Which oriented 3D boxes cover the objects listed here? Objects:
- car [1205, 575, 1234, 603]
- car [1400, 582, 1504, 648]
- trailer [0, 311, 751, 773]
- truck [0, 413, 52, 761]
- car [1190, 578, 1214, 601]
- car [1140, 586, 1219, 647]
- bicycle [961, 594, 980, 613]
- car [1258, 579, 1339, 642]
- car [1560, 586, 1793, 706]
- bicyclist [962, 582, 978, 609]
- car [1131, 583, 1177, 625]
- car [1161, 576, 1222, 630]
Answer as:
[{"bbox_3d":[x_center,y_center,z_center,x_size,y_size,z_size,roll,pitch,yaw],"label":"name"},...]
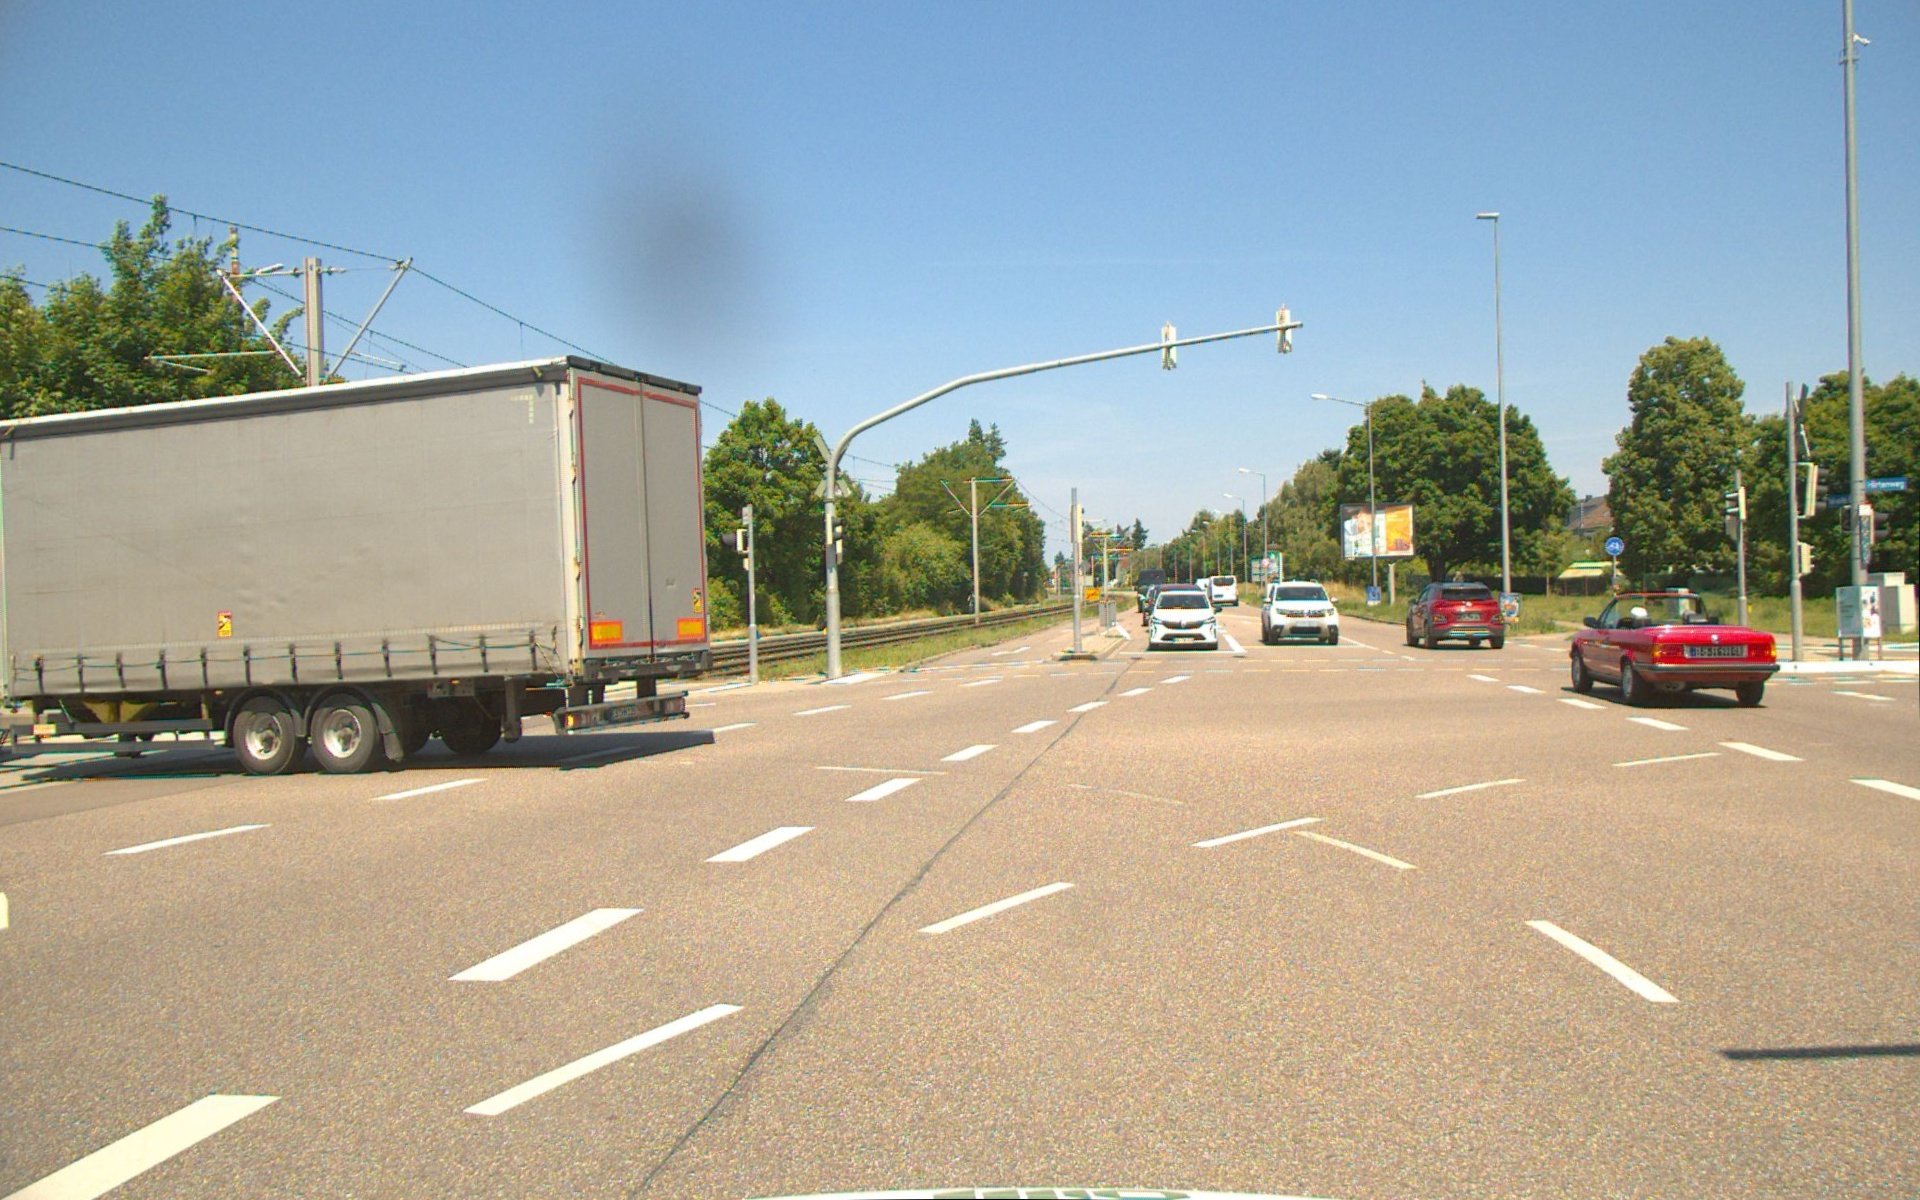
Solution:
[{"bbox_3d":[17.225,-0.726,109.880,1.730,1.786,4.003,1,0,6],"label":"car"},{"bbox_3d":[12.030,0.323,40.699,1.804,1.484,4.416,-2,0,8],"label":"car"},{"bbox_3d":[-7.319,-0.363,18.005,9.575,4.141,3.088,-2,0,21],"label":"trailer"},{"bbox_3d":[-15.252,-0.043,18.946,7.785,4.141,3.081,-2,-1,-9],"label":"truck"},{"bbox_3d":[19.495,-0.878,133.423,1.730,1.786,4.003,1,0,6],"label":"car"},{"bbox_3d":[5.579,0.378,41.851,1.829,1.413,4.416,-2,0,8],"label":"car"},{"bbox_3d":[0.852,0.251,131.942,1.038,1.369,2.698,-5,0,7],"label":"bicycle"},{"bbox_3d":[9.015,0.255,44.320,1.829,1.603,4.416,-1,0,8],"label":"car"},{"bbox_3d":[9.231,0.529,21.665,1.723,1.372,4.316,0,1,8],"label":"car"},{"bbox_3d":[0.807,-0.375,131.951,1.048,2.048,1.186,-4,-1,8],"label":"bicyclist"},{"bbox_3d":[7.707,0.123,65.603,1.688,1.603,4.416,-1,0,8],"label":"car"},{"bbox_3d":[7.351,0.075,52.567,1.829,1.603,4.416,-1,0,8],"label":"car"}]
